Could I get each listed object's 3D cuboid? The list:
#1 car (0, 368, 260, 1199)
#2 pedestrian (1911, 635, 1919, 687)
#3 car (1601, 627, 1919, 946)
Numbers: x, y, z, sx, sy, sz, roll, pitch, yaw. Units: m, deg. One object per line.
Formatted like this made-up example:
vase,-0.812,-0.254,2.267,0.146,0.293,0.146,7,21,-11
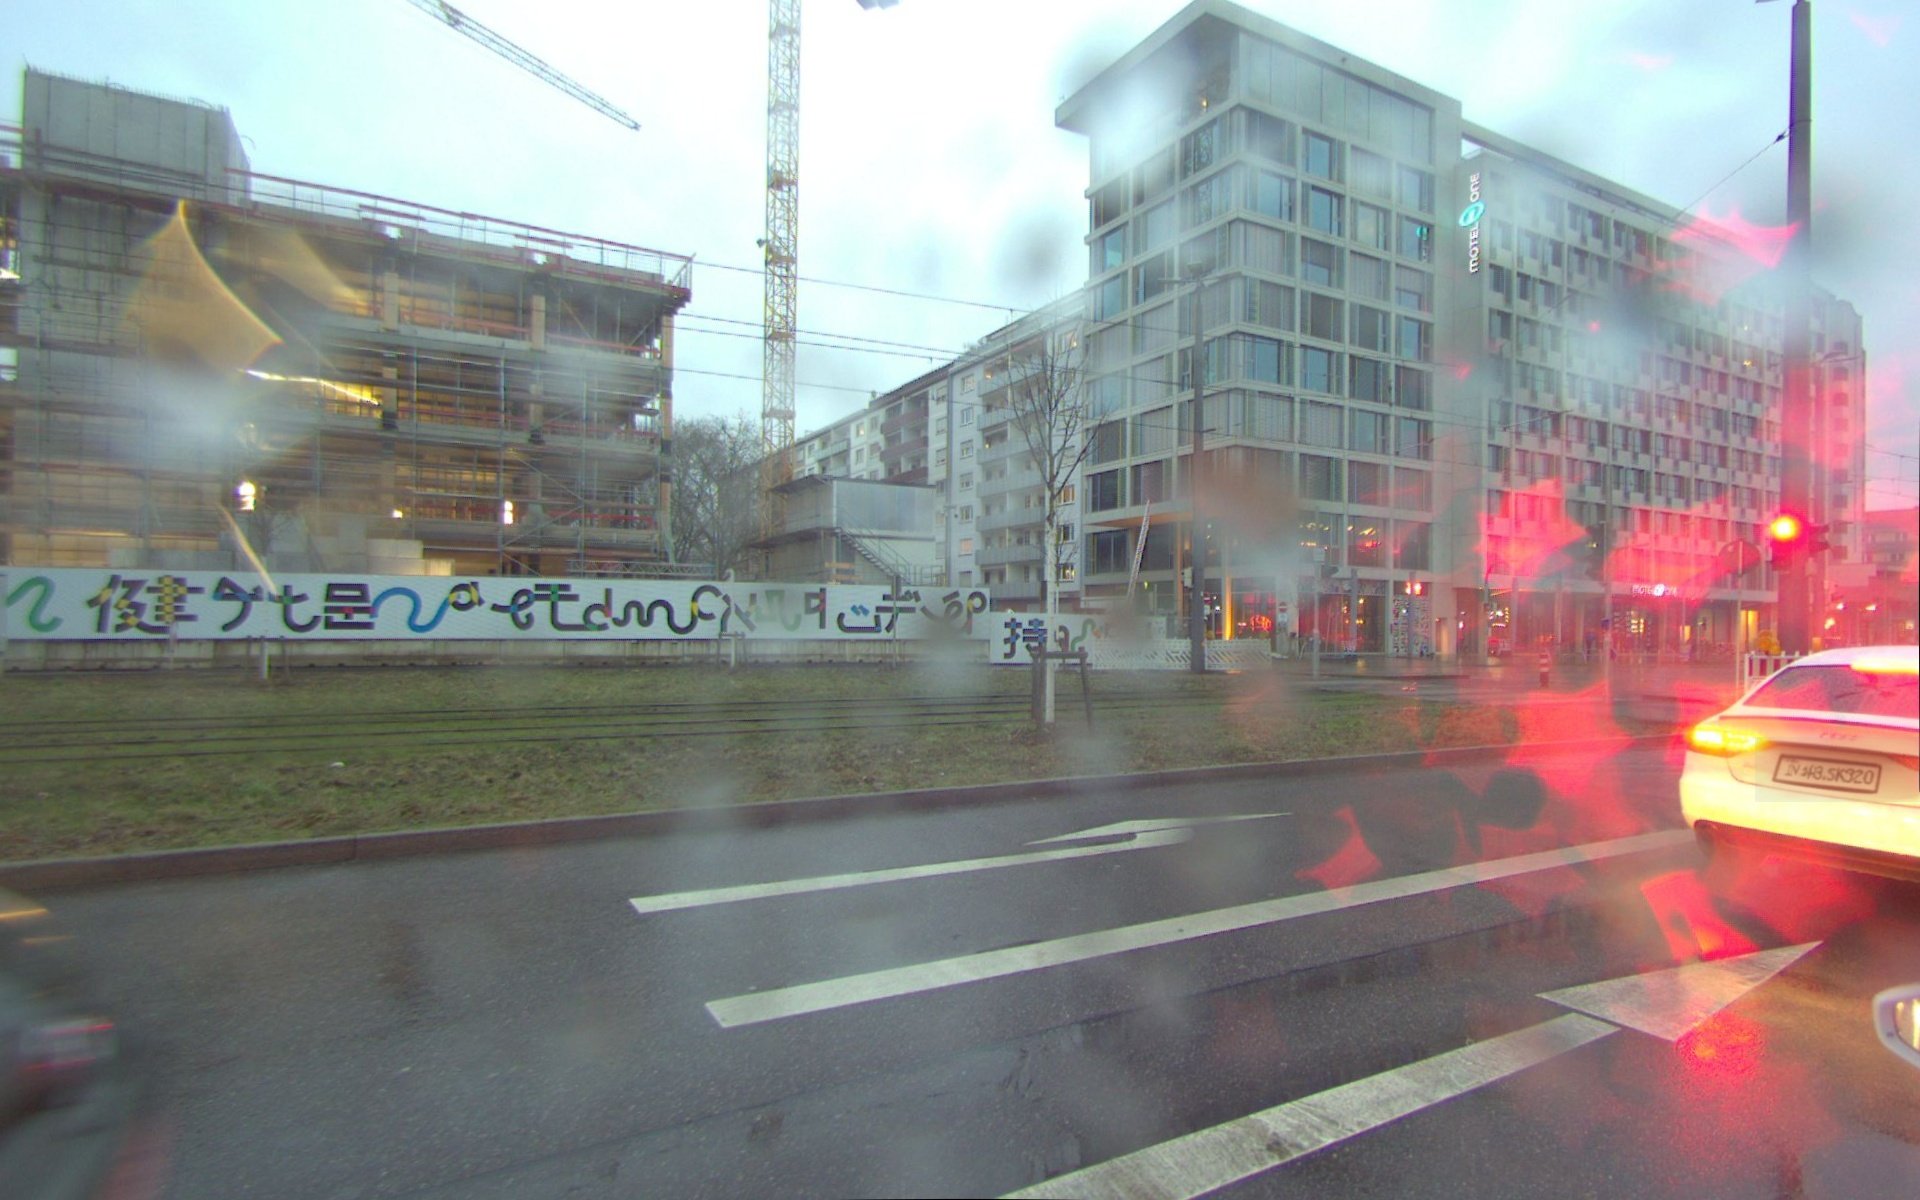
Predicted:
car,-3.018,0.580,0.639,4.089,1.668,1.801,1,0,-32
pedestrian,32.903,2.092,34.115,0.808,1.734,0.782,2,0,-45
car,6.165,0.944,6.297,4.320,1.475,1.983,1,0,-32
